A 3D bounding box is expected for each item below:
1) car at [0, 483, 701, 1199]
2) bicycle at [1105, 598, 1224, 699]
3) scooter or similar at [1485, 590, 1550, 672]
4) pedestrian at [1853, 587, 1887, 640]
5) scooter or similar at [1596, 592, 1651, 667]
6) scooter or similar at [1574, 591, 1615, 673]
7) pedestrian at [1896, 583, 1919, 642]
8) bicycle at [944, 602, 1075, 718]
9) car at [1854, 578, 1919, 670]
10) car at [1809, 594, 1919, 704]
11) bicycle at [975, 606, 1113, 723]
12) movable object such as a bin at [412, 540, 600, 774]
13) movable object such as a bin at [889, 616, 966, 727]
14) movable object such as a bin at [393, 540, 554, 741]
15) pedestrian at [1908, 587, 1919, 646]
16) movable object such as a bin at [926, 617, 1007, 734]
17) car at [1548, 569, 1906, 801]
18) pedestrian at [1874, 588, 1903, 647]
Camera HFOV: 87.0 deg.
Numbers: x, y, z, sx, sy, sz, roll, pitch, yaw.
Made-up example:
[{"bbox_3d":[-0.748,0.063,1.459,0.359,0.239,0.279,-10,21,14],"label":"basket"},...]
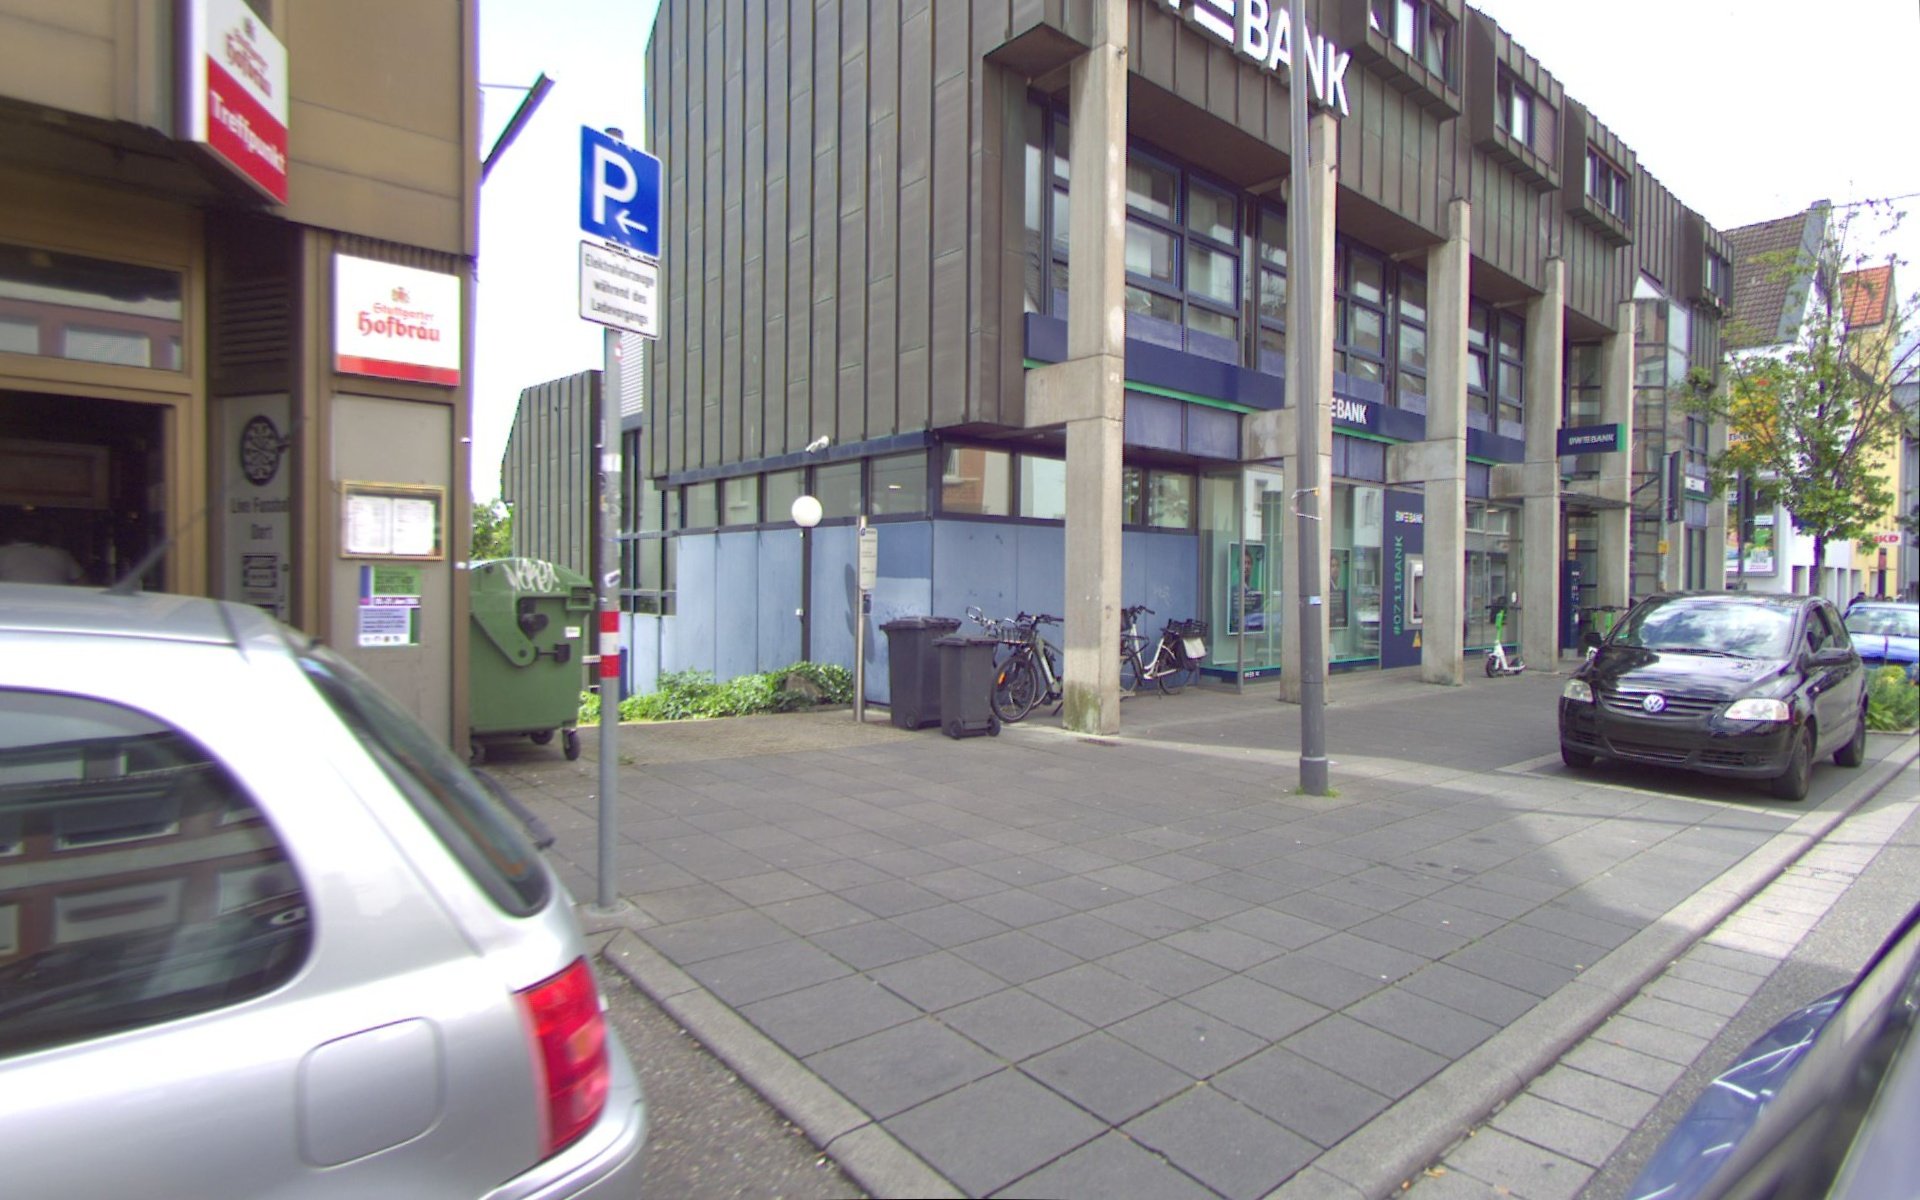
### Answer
[{"bbox_3d":[-2.382,0.564,1.067,3.727,1.512,1.614,0,4,-40],"label":"car"},{"bbox_3d":[2.514,0.558,12.354,1.709,1.133,0.426,-1,0,-39],"label":"bicycle"},{"bbox_3d":[9.020,0.471,16.350,1.534,1.261,0.422,-1,0,-41],"label":"scooter or similar"},{"bbox_3d":[30.796,0.453,34.242,0.744,1.759,0.742,-1,0,-40],"label":"pedestrian"},{"bbox_3d":[11.683,0.495,17.806,1.534,1.261,0.422,-1,0,-41],"label":"scooter or similar"},{"bbox_3d":[10.292,0.498,16.410,0.404,1.261,1.306,-1,0,39],"label":"scooter or similar"},{"bbox_3d":[30.647,0.402,32.656,0.566,1.864,0.589,-1,0,-40],"label":"pedestrian"},{"bbox_3d":[0.543,0.597,10.694,1.475,1.133,0.426,-1,0,-39],"label":"bicycle"},{"bbox_3d":[19.125,0.479,19.763,4.349,1.595,1.726,0,5,-40],"label":"car"},{"bbox_3d":[14.960,0.685,15.958,4.036,1.512,1.724,-1,0,-40],"label":"car"},{"bbox_3d":[0.869,0.620,10.239,1.474,1.095,0.426,1,1,-39],"label":"bicycle"},{"bbox_3d":[-3.360,0.372,7.462,1.013,1.547,1.145,-1,0,-38],"label":"movable object such as a bin"},{"bbox_3d":[-0.312,0.666,9.727,0.544,1.012,0.488,-1,0,-38],"label":"movable object such as a bin"},{"bbox_3d":[-4.139,0.305,8.587,1.013,1.547,1.145,-1,0,-38],"label":"movable object such as a bin"},{"bbox_3d":[30.350,0.521,31.915,0.566,1.864,0.589,-1,0,-40],"label":"pedestrian"},{"bbox_3d":[0.057,0.666,9.218,0.544,1.012,0.488,-1,0,-38],"label":"movable object such as a bin"},{"bbox_3d":[6.697,0.556,8.707,3.727,1.551,1.613,0,2,-40],"label":"car"},{"bbox_3d":[29.890,0.543,32.581,0.566,1.864,0.589,-1,0,-40],"label":"pedestrian"}]
